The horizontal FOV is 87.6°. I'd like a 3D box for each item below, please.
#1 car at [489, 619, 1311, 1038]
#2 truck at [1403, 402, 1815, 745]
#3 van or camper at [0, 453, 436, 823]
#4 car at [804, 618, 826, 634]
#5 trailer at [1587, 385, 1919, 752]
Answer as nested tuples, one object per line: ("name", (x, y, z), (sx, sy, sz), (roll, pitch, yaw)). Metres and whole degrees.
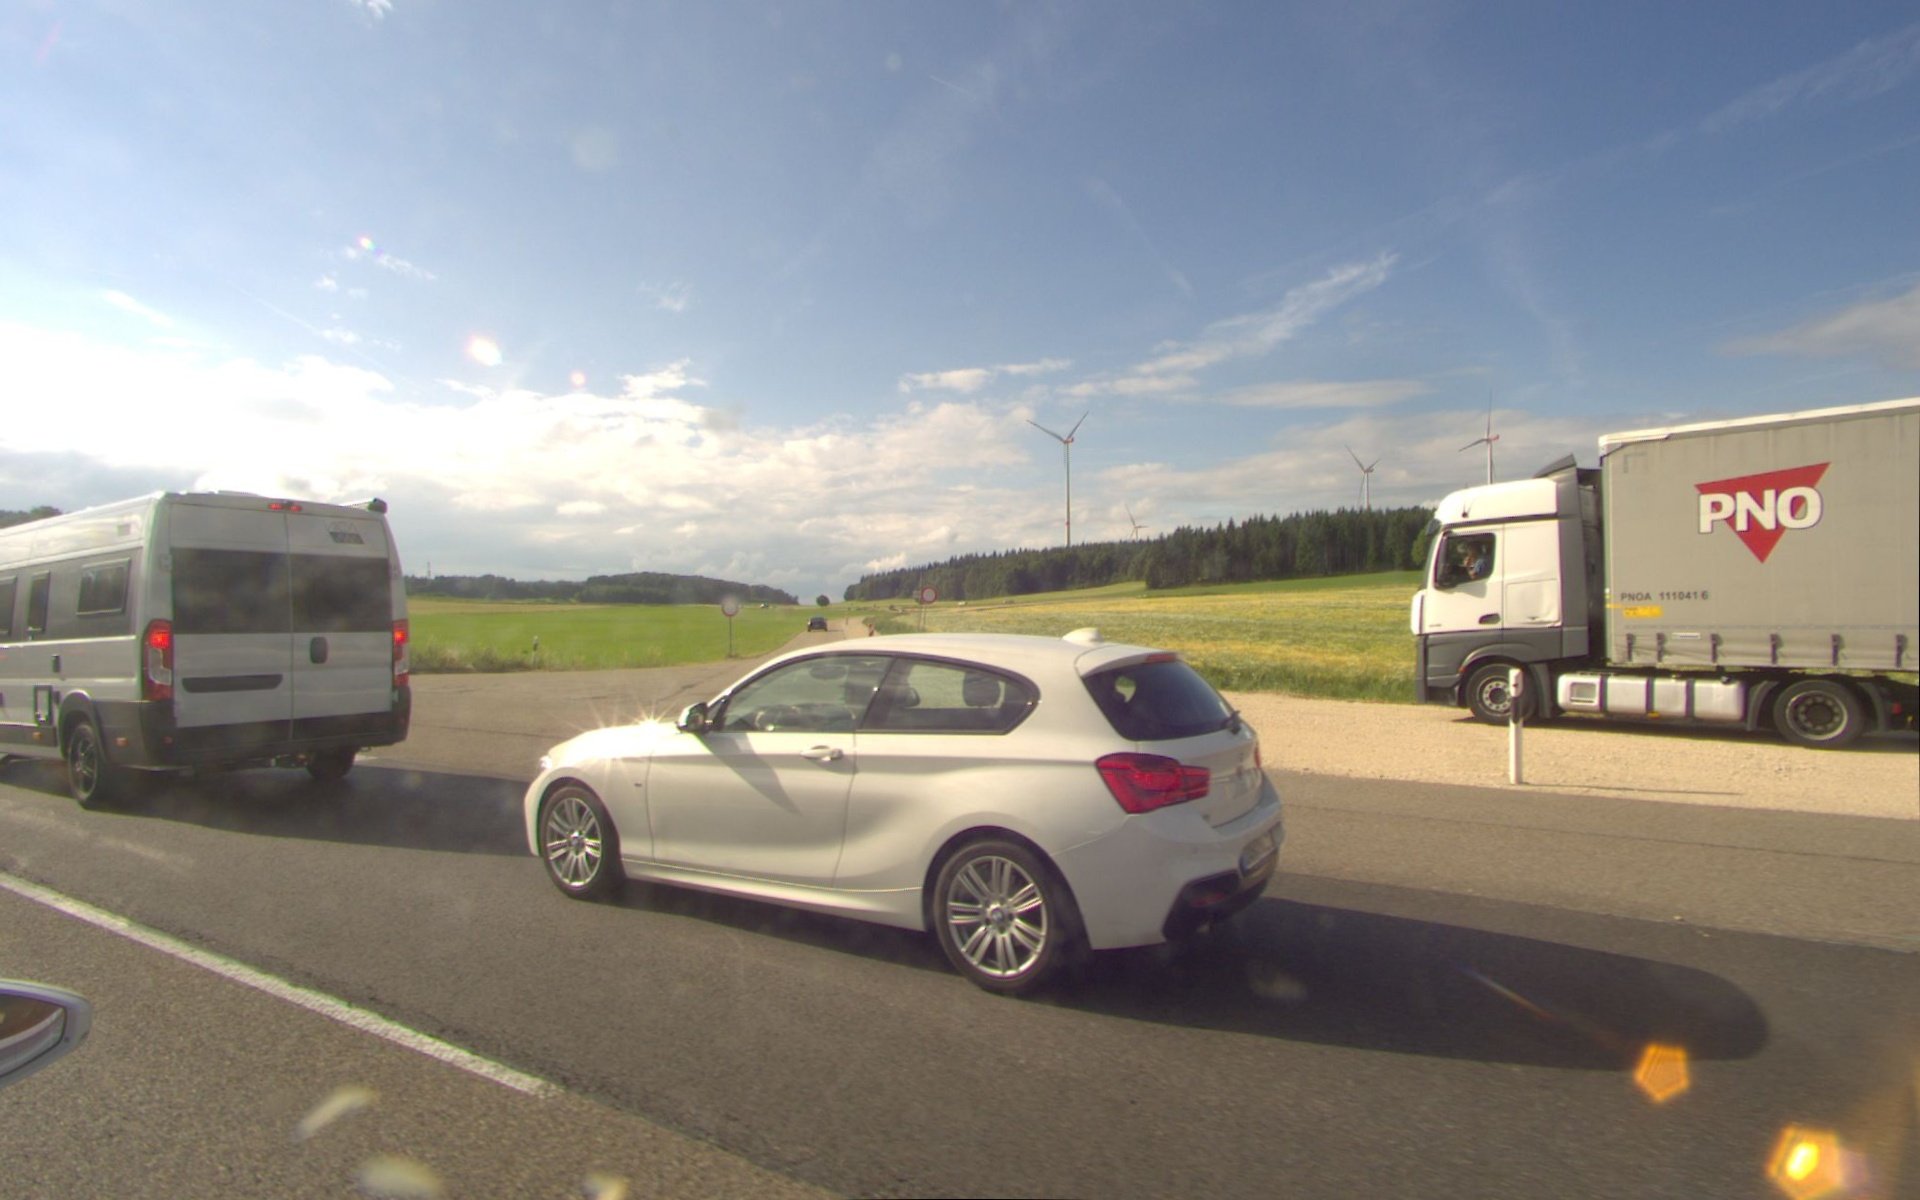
("car", (-0.476, 0.850, 5.325), (4.172, 1.450, 1.701), (-1, -2, 32))
("truck", (9.563, -0.255, 14.997), (2.696, 4.227, 4.715), (1, -1, -43))
("van or camper", (-8.055, 0.337, 9.977), (6.242, 2.716, 2.211), (-1, -1, 32))
("car", (-13.910, 2.497, 96.014), (1.798, 1.450, 4.230), (1, -2, -12))
("trailer", (14.371, -0.389, 9.881), (2.717, 4.214, 13.696), (1, -2, -43))
